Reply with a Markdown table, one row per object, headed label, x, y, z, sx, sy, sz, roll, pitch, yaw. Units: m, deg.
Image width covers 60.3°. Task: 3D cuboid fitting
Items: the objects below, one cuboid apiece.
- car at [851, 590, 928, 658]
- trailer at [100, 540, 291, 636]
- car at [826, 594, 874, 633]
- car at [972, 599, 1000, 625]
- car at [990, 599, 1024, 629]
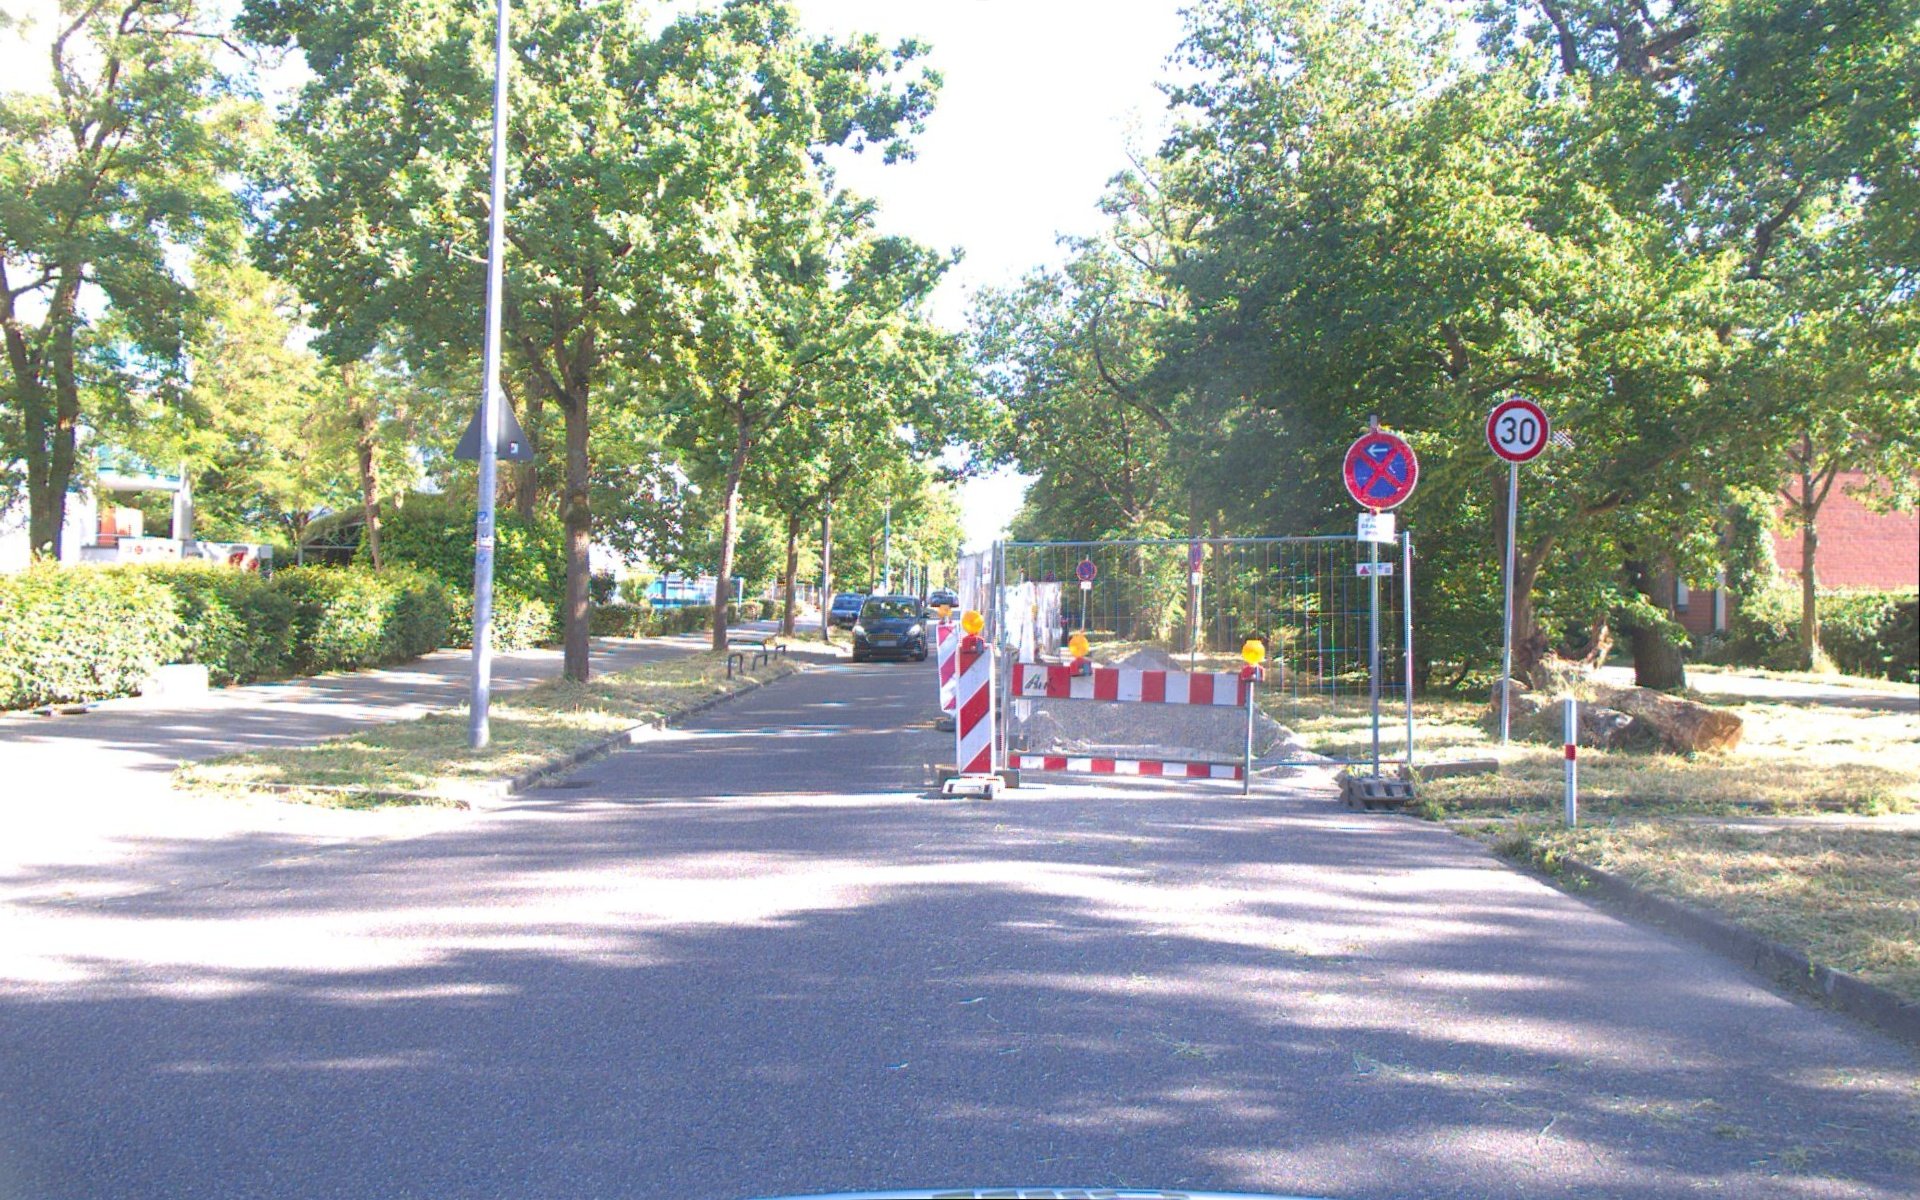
| label | x | y | z | sx | sy | sz | roll | pitch | yaw |
| --- | --- | --- | --- | --- | --- | --- | --- | --- | --- |
| car | -1.785 | 0.586 | 43.262 | 1.784 | 1.653 | 4.492 | -1 | 0 | 0 |
| trailer | -17.721 | -0.265 | 38.597 | 1.934 | 2.078 | 4.433 | 1 | 0 | 7 |
| car | -4.488 | 0.549 | 67.887 | 1.715 | 1.504 | 3.836 | 1 | 0 | -1 |
| car | 1.404 | 0.681 | 90.595 | 1.334 | 1.325 | 3.480 | 2 | -1 | -2 |
| car | 2.175 | 0.685 | 77.626 | 1.334 | 1.325 | 3.480 | 2 | -1 | -2 |
